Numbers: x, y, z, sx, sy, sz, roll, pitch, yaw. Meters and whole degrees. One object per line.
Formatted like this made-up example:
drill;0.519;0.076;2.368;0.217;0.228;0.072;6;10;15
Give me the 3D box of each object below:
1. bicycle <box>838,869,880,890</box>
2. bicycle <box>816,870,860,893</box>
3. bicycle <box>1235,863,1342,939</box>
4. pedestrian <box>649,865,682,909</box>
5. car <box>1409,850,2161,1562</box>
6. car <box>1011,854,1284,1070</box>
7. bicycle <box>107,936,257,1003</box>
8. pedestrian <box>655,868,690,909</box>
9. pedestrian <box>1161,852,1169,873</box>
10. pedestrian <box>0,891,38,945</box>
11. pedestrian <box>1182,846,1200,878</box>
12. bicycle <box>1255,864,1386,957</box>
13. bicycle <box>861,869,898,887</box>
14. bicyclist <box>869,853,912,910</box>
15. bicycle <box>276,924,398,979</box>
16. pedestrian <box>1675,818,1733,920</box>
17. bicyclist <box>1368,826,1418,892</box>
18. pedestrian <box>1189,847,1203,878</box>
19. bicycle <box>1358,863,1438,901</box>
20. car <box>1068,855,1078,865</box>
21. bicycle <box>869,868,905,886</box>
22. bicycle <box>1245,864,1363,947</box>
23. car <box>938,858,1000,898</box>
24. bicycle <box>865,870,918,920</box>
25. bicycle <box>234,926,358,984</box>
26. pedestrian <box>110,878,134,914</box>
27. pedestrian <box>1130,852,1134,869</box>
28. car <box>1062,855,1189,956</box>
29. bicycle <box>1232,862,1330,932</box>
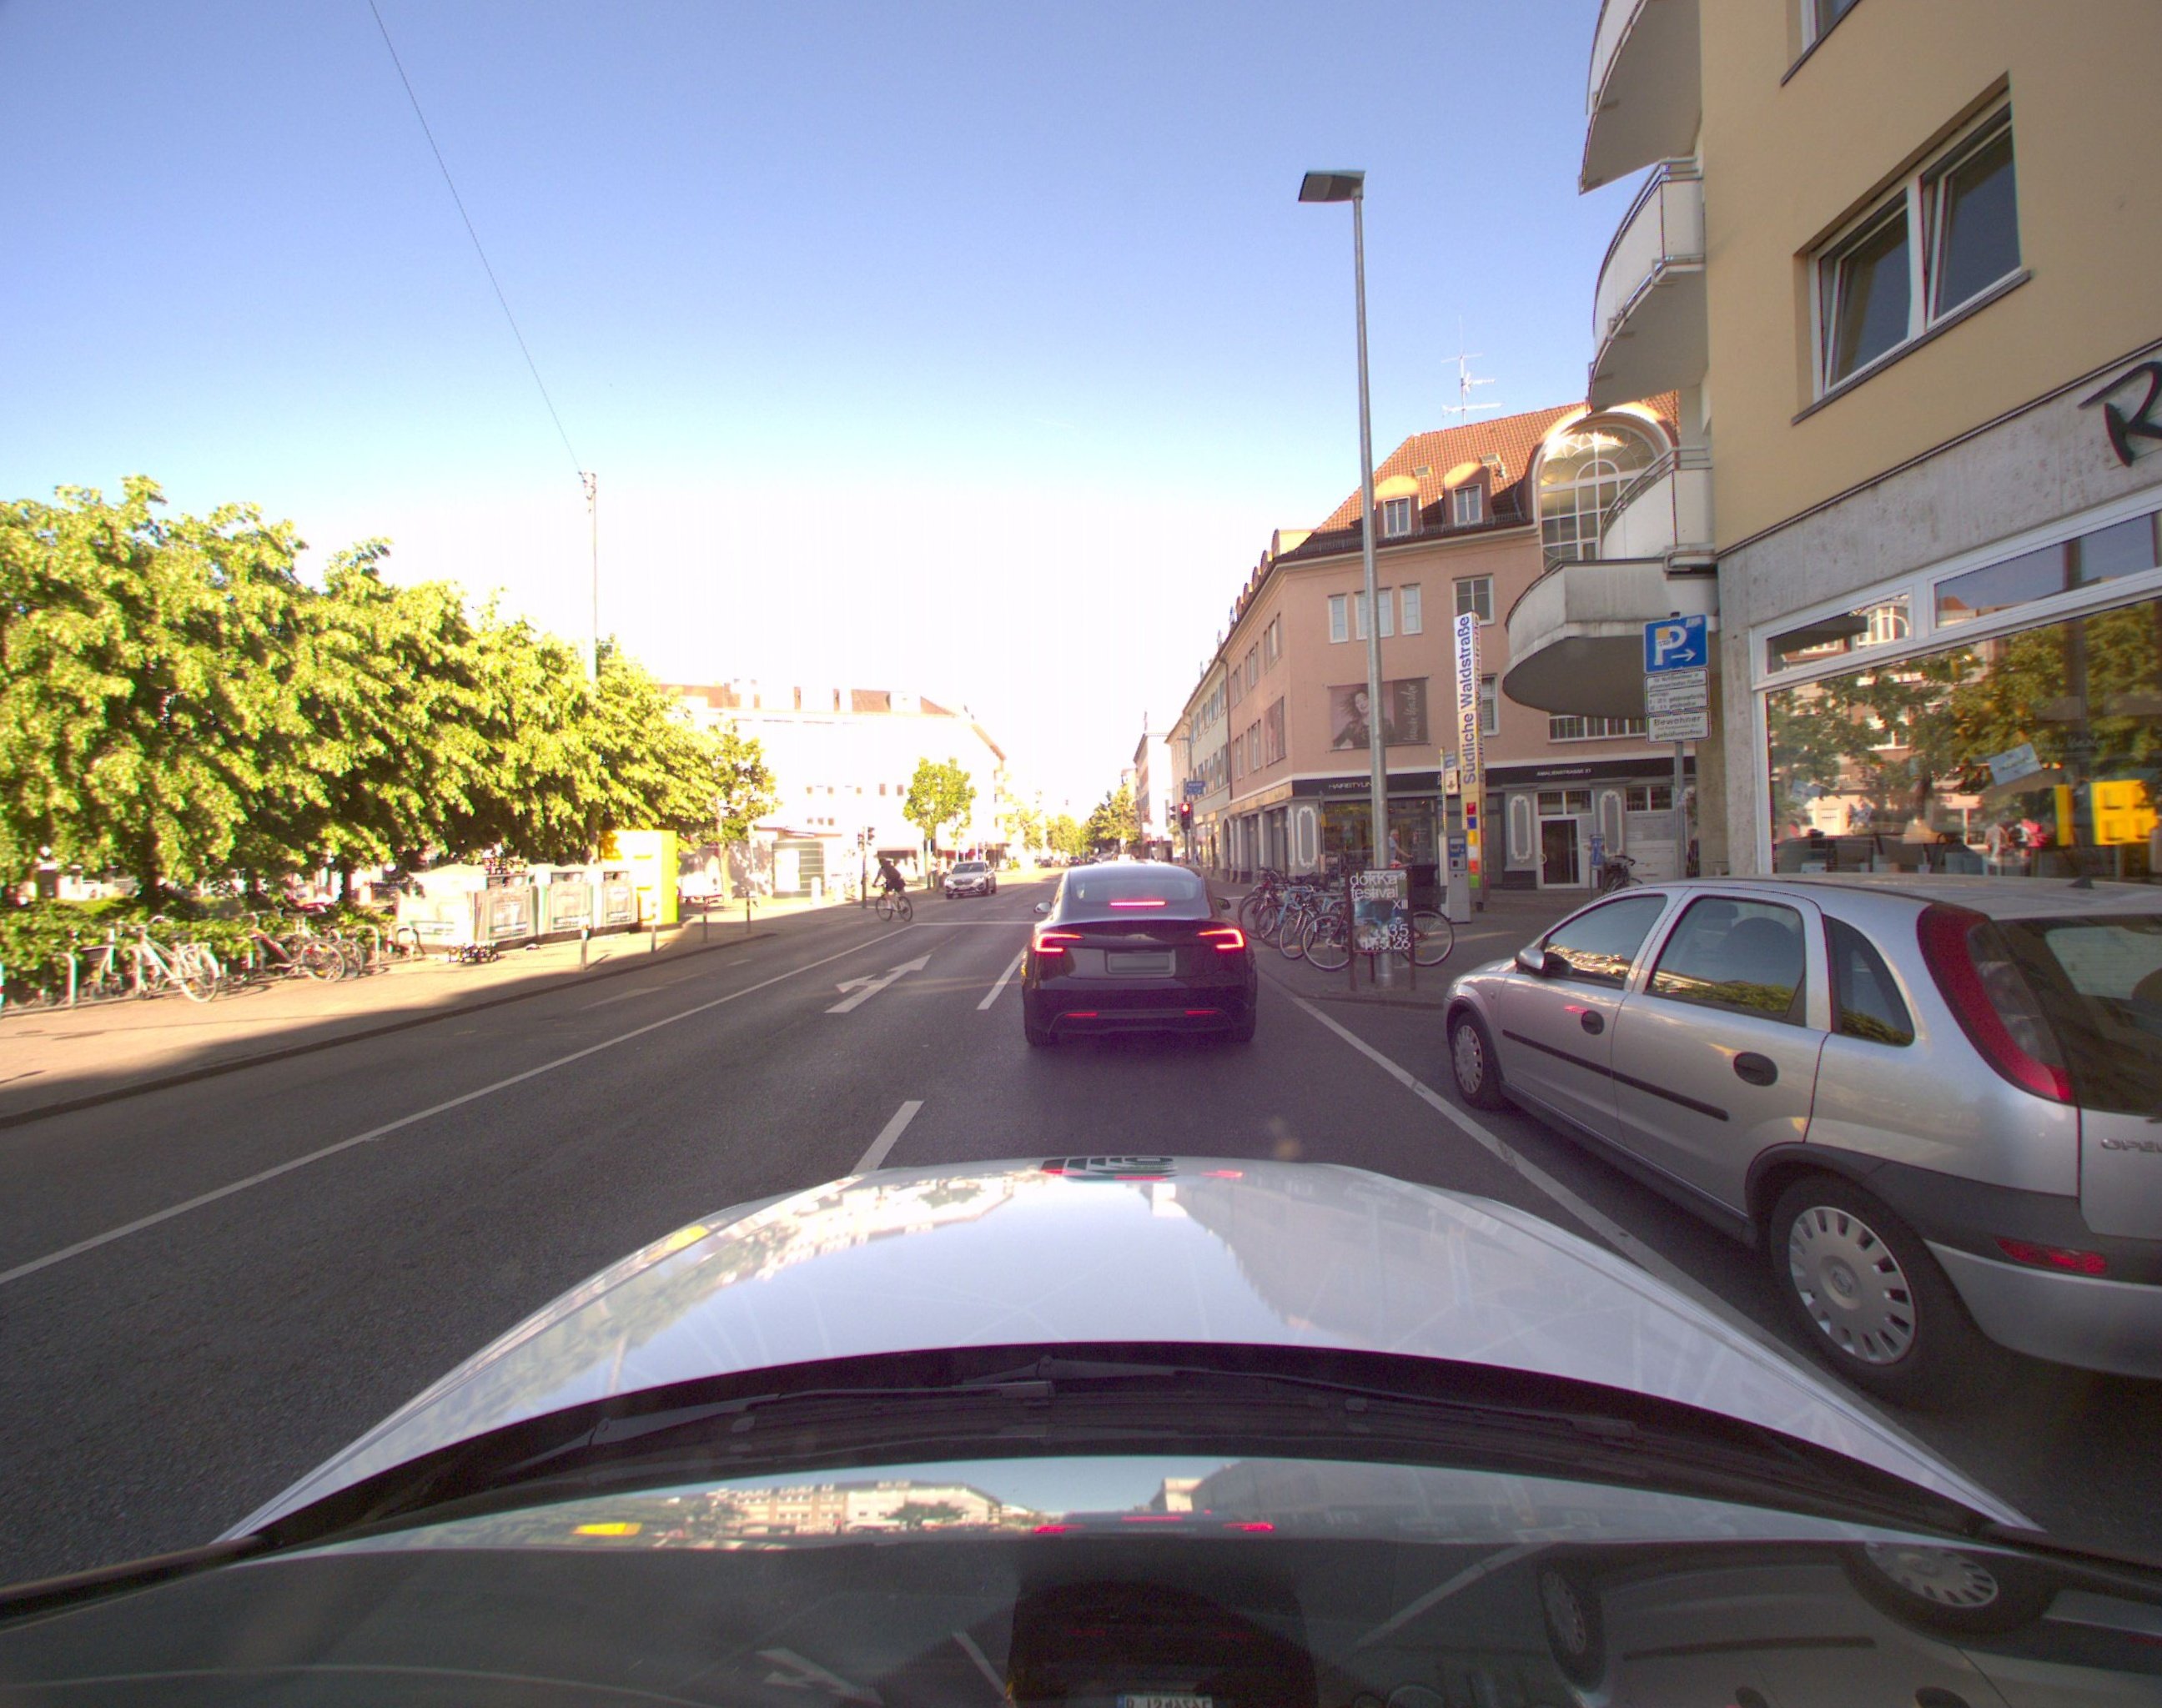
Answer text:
bicycle;-12.430;1.442;45.648;2.075;1.104;0.806;-1;0;1
bicycle;-12.847;1.452;43.136;2.075;1.104;0.806;-1;0;1
bicycle;3.448;0.778;13.613;1.622;1.160;0.433;-3;0;0
pedestrian;-16.603;1.302;32.561;0.897;1.725;0.745;-1;0;5
car;2.955;0.702;3.549;1.615;1.394;3.888;-1;0;3
car;0.542;0.751;7.495;1.842;1.455;3.788;-1;0;3
bicycle;-11.443;1.454;10.371;1.645;0.769;0.476;-1;-1;10
pedestrian;-16.421;1.379;32.724;0.981;1.636;0.738;-1;0;5
pedestrian;6.697;0.656;65.033;0.568;1.691;0.387;-1;0;1
pedestrian;-41.049;2.461;31.489;0.577;2.014;0.682;-1;-1;9
pedestrian;6.487;0.474;48.030;0.995;1.850;0.615;-1;0;1
bicycle;3.290;0.772;11.247;1.622;1.160;0.433;-3;0;0
bicycle;-12.477;1.483;50.427;2.075;1.104;0.806;-1;0;1
bicyclist;-5.050;0.715;21.527;0.802;1.435;0.998;-1;0;-33
bicycle;-11.249;1.463;12.328;1.466;0.769;0.475;-1;-1;4
pedestrian;10.277;0.243;13.438;0.655;1.633;0.632;-5;-1;38
bicyclist;8.055;0.132;21.061;1.112;1.654;0.631;-1;0;12
pedestrian;6.764;0.480;48.014;0.701;1.783;0.534;-1;0;1
bicycle;8.157;0.714;21.036;1.850;0.946;0.631;0;0;12
car;-1.457;1.024;147.644;1.824;1.724;4.000;-1;0;0
bicycle;-12.520;1.454;52.624;2.075;1.104;0.806;-1;0;1
bicycle;3.386;0.774;12.415;1.622;1.160;0.433;-3;0;0
car;-4.936;1.033;36.505;1.986;1.541;4.002;-5;0;2
bicycle;-5.026;1.058;21.499;0.802;1.233;1.755;-1;0;-33
bicycle;-11.342;1.454;11.772;1.465;0.769;0.442;-1;-1;6
pedestrian;-48.688;2.127;41.335;0.576;1.792;0.604;-1;-1;19
pedestrian;6.025;0.740;95.594;0.383;2.013;0.297;-1;0;1
car;0.749;0.769;13.937;1.842;1.455;3.788;-1;0;3
bicycle;3.623;0.766;14.804;1.621;1.160;0.433;-3;0;2
